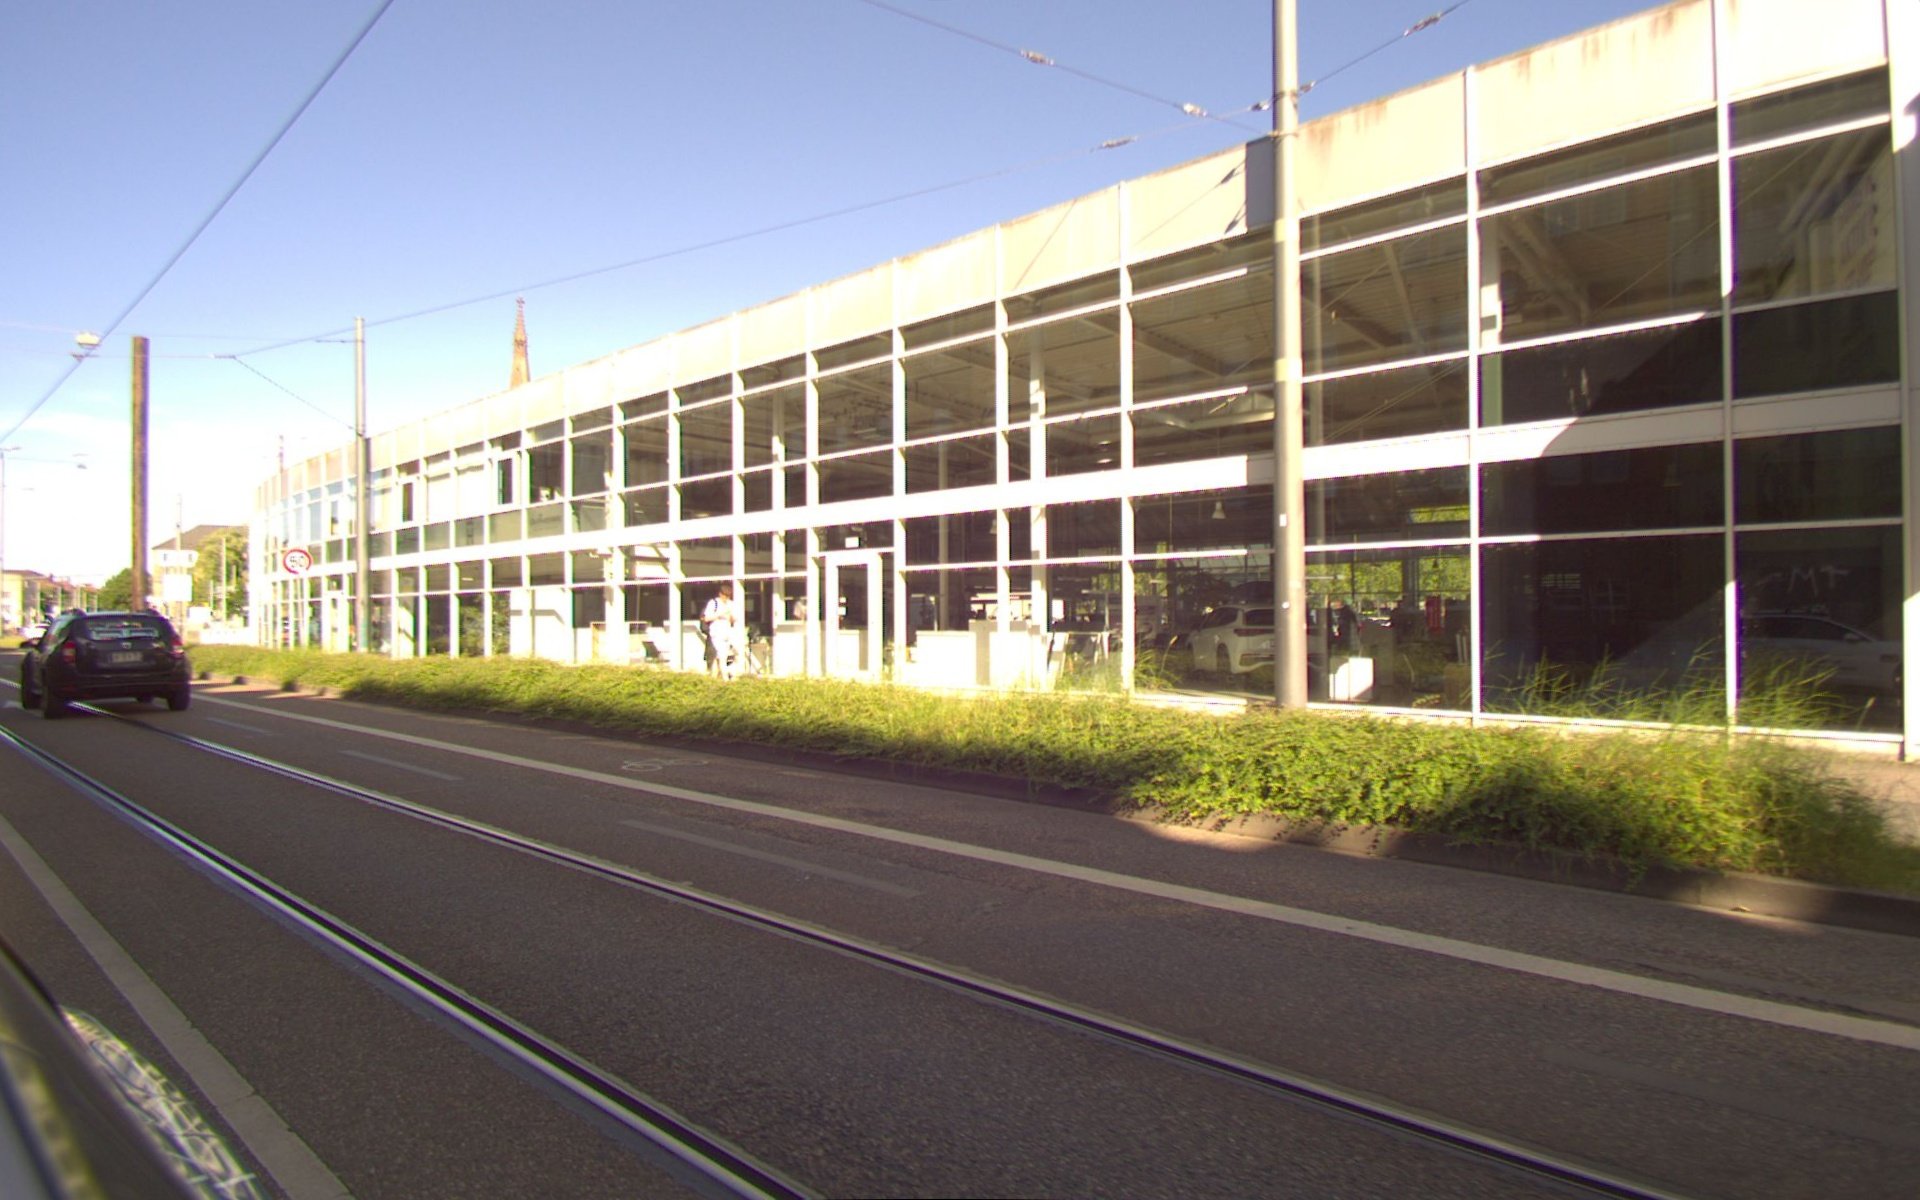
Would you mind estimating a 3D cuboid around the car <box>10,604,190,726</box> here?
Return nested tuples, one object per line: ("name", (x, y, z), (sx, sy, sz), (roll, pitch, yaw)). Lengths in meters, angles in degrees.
("car", (-14.227, 0.962, 16.657), (4.143, 1.709, 1.740), (-1, 1, 43))

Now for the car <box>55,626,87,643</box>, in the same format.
("car", (-78.893, 3.082, 89.781), (3.970, 1.490, 1.632), (-1, -2, 42))

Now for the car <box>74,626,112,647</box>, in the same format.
("car", (-69.878, 2.898, 81.553), (4.164, 1.590, 1.783), (-1, -1, 42))

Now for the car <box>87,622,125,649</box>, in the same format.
("car", (-64.886, 2.662, 76.855), (4.166, 1.948, 1.782), (-1, -2, 44))

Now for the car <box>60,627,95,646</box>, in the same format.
("car", (-75.039, 3.082, 86.034), (3.999, 1.443, 1.783), (-1, 1, 42))

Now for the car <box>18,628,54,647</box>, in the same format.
("car", (-77.308, 3.136, 84.624), (4.540, 1.443, 1.783), (-1, 1, 42))

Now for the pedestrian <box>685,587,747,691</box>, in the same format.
("pedestrian", (-4.293, 0.668, 17.792), (1.050, 1.778, 0.521), (-1, 1, 41))

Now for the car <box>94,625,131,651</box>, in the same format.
("car", (-59.980, 2.651, 71.602), (1.778, 1.732, 4.421), (1, -1, -43))
